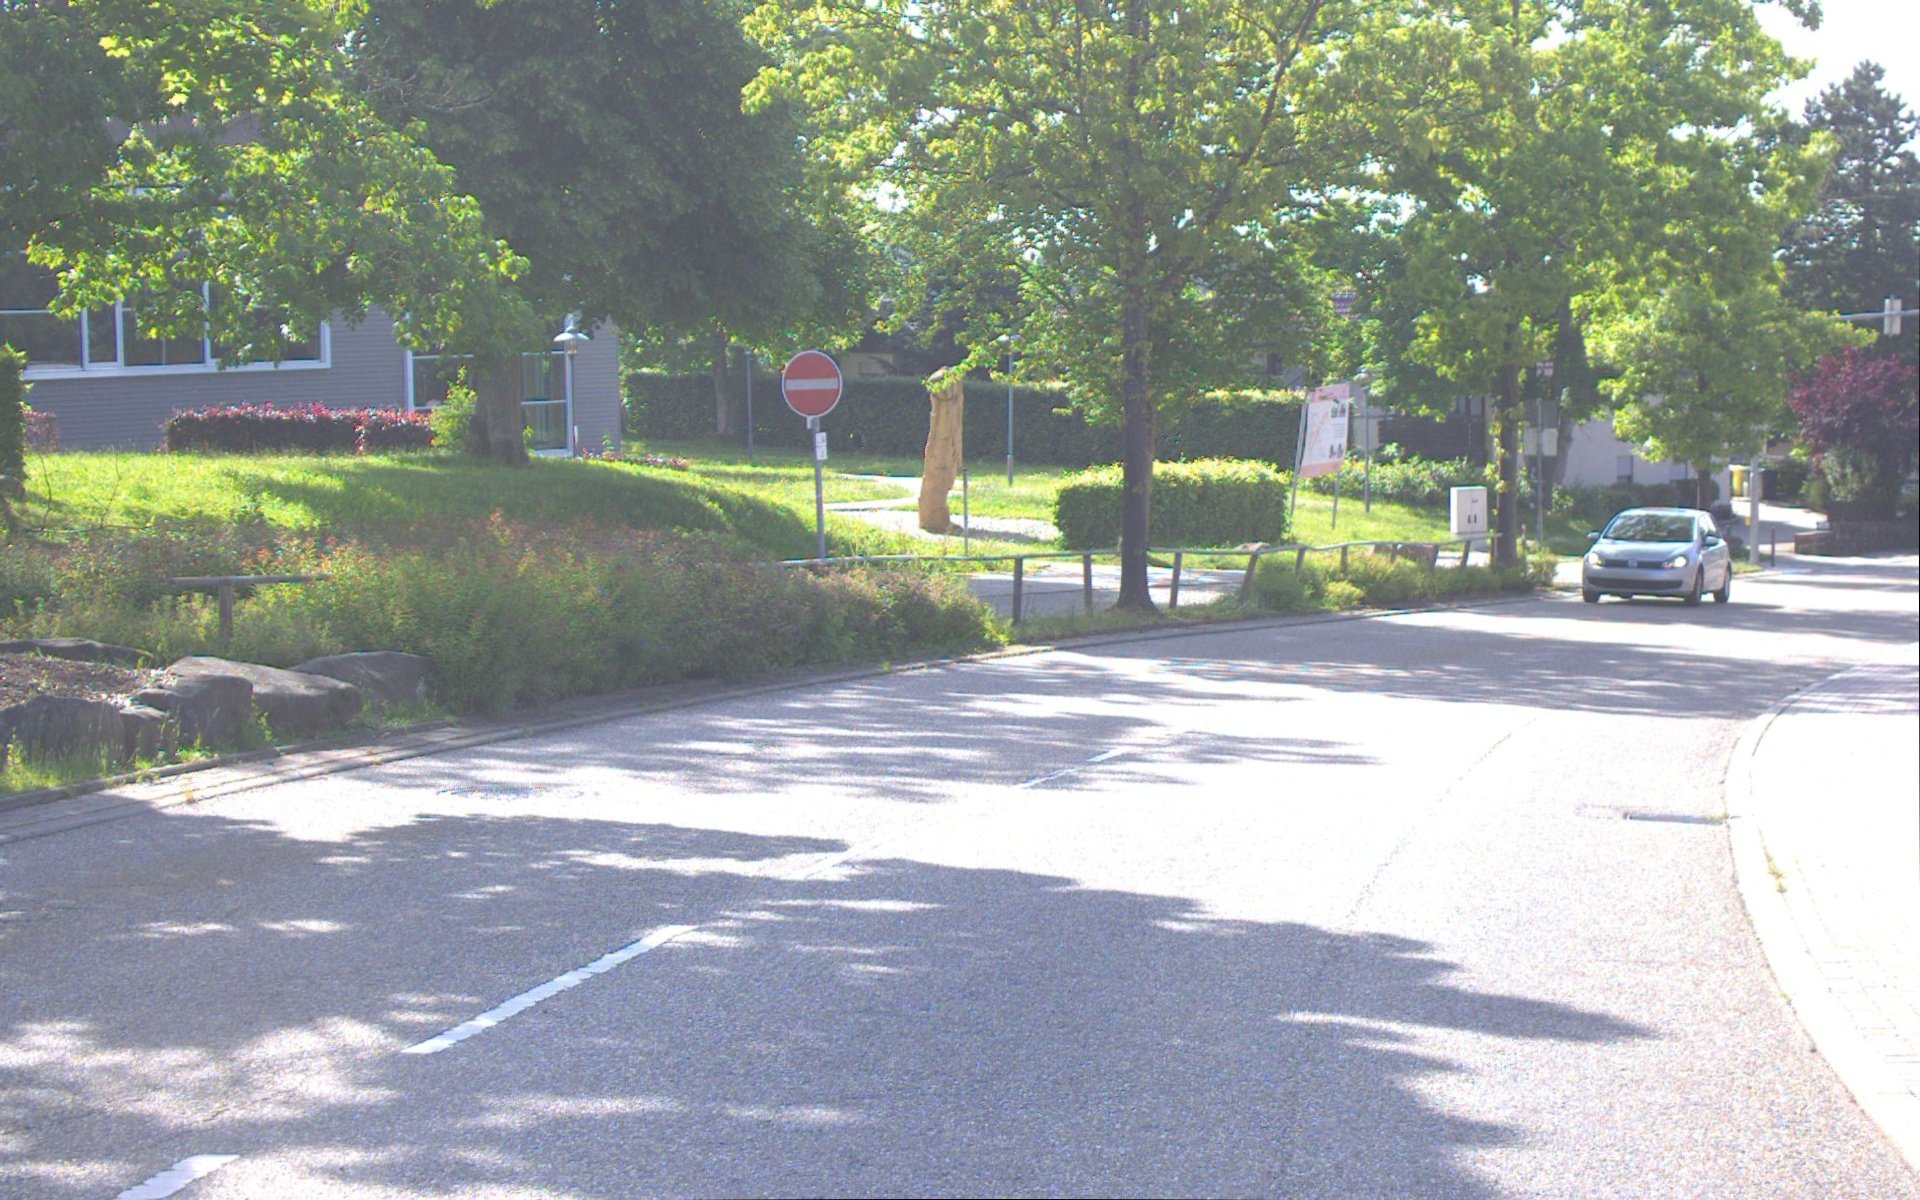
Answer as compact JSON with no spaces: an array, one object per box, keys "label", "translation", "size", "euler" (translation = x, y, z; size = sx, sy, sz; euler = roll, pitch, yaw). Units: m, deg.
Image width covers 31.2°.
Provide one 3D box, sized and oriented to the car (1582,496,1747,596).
[{"label":"car","translation":[10.971,-0.868,53.367],"size":[1.731,1.438,4.060],"euler":[3,3,22]}]
